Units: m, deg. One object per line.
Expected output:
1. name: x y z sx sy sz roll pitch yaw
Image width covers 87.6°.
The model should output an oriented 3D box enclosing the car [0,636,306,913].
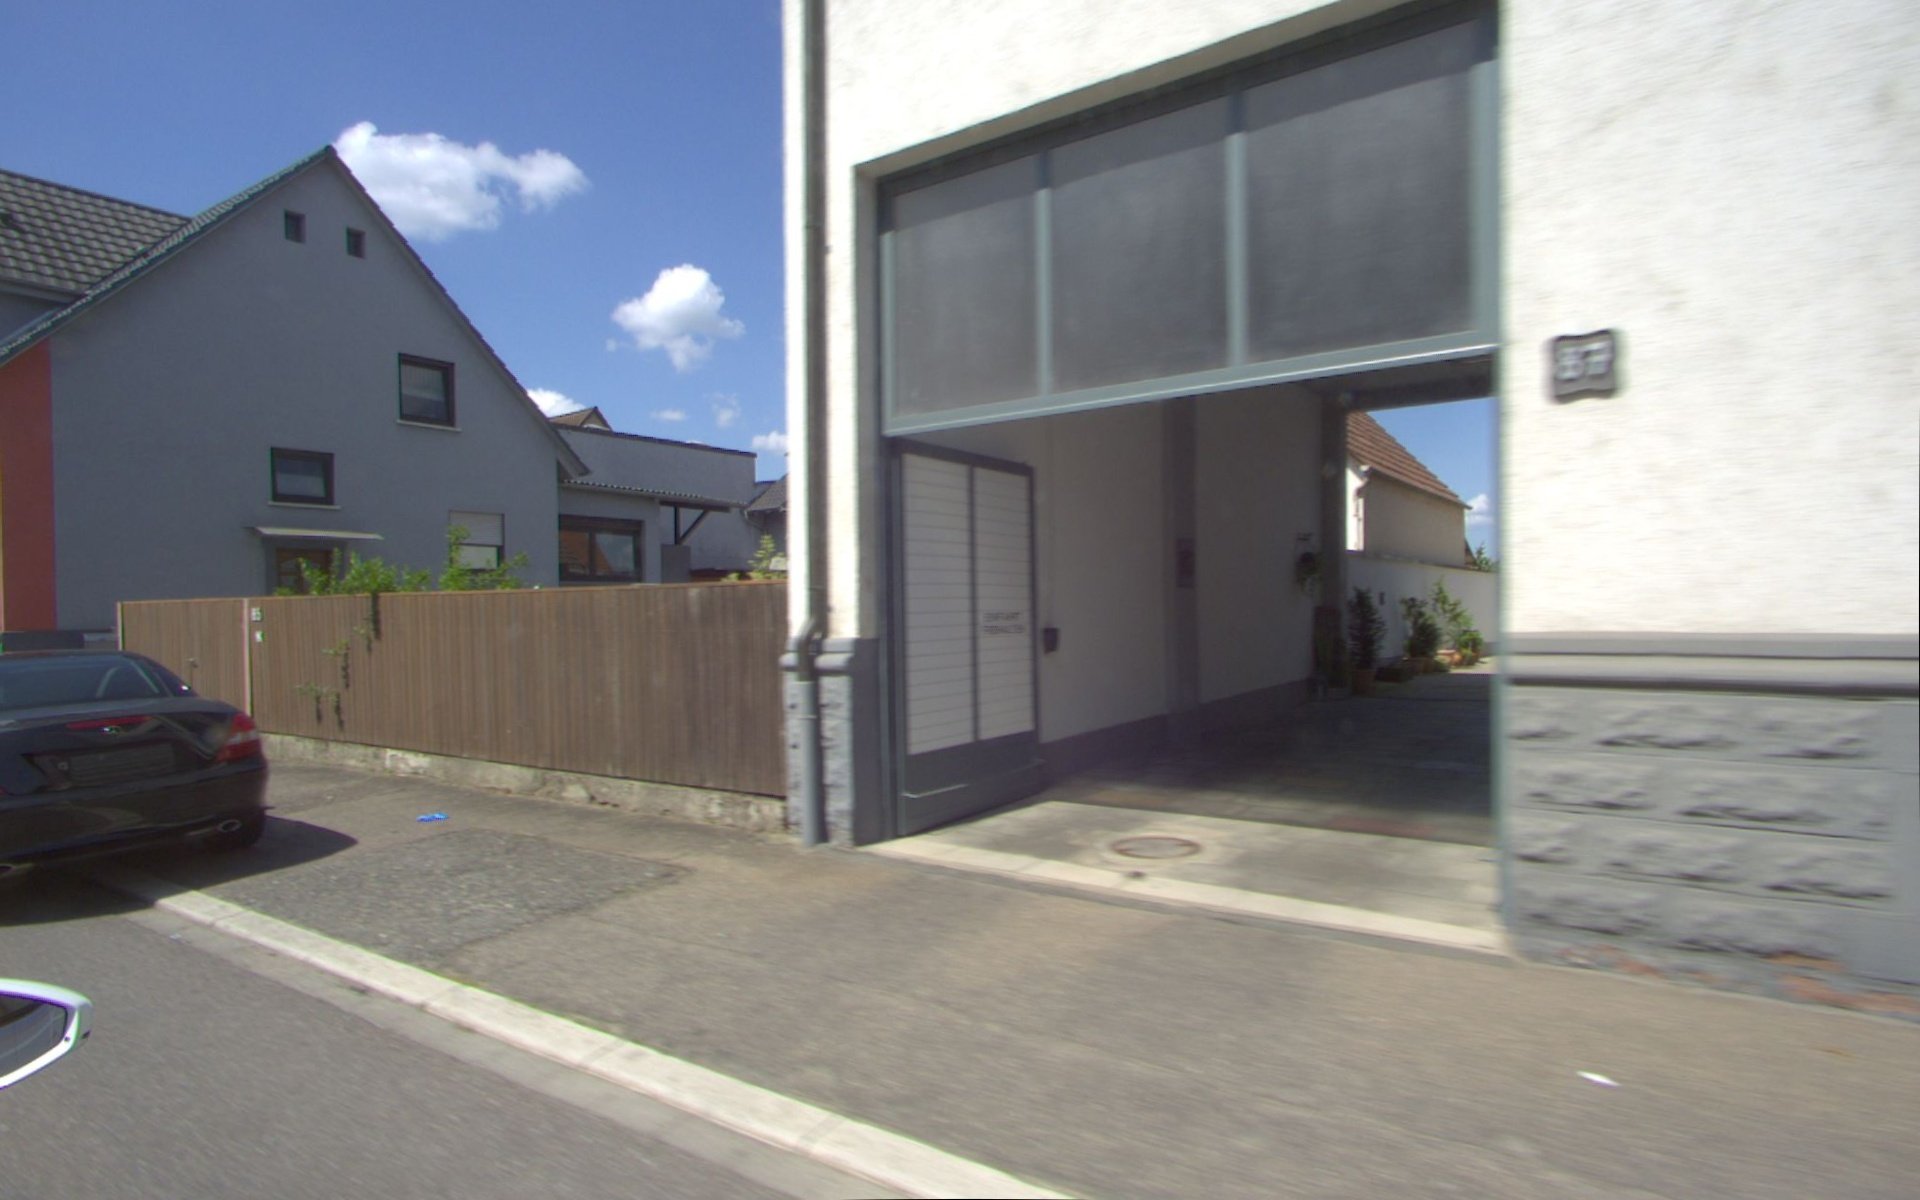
1. car: -6.134 0.914 6.436 4.090 1.292 1.811 -1 -1 34
